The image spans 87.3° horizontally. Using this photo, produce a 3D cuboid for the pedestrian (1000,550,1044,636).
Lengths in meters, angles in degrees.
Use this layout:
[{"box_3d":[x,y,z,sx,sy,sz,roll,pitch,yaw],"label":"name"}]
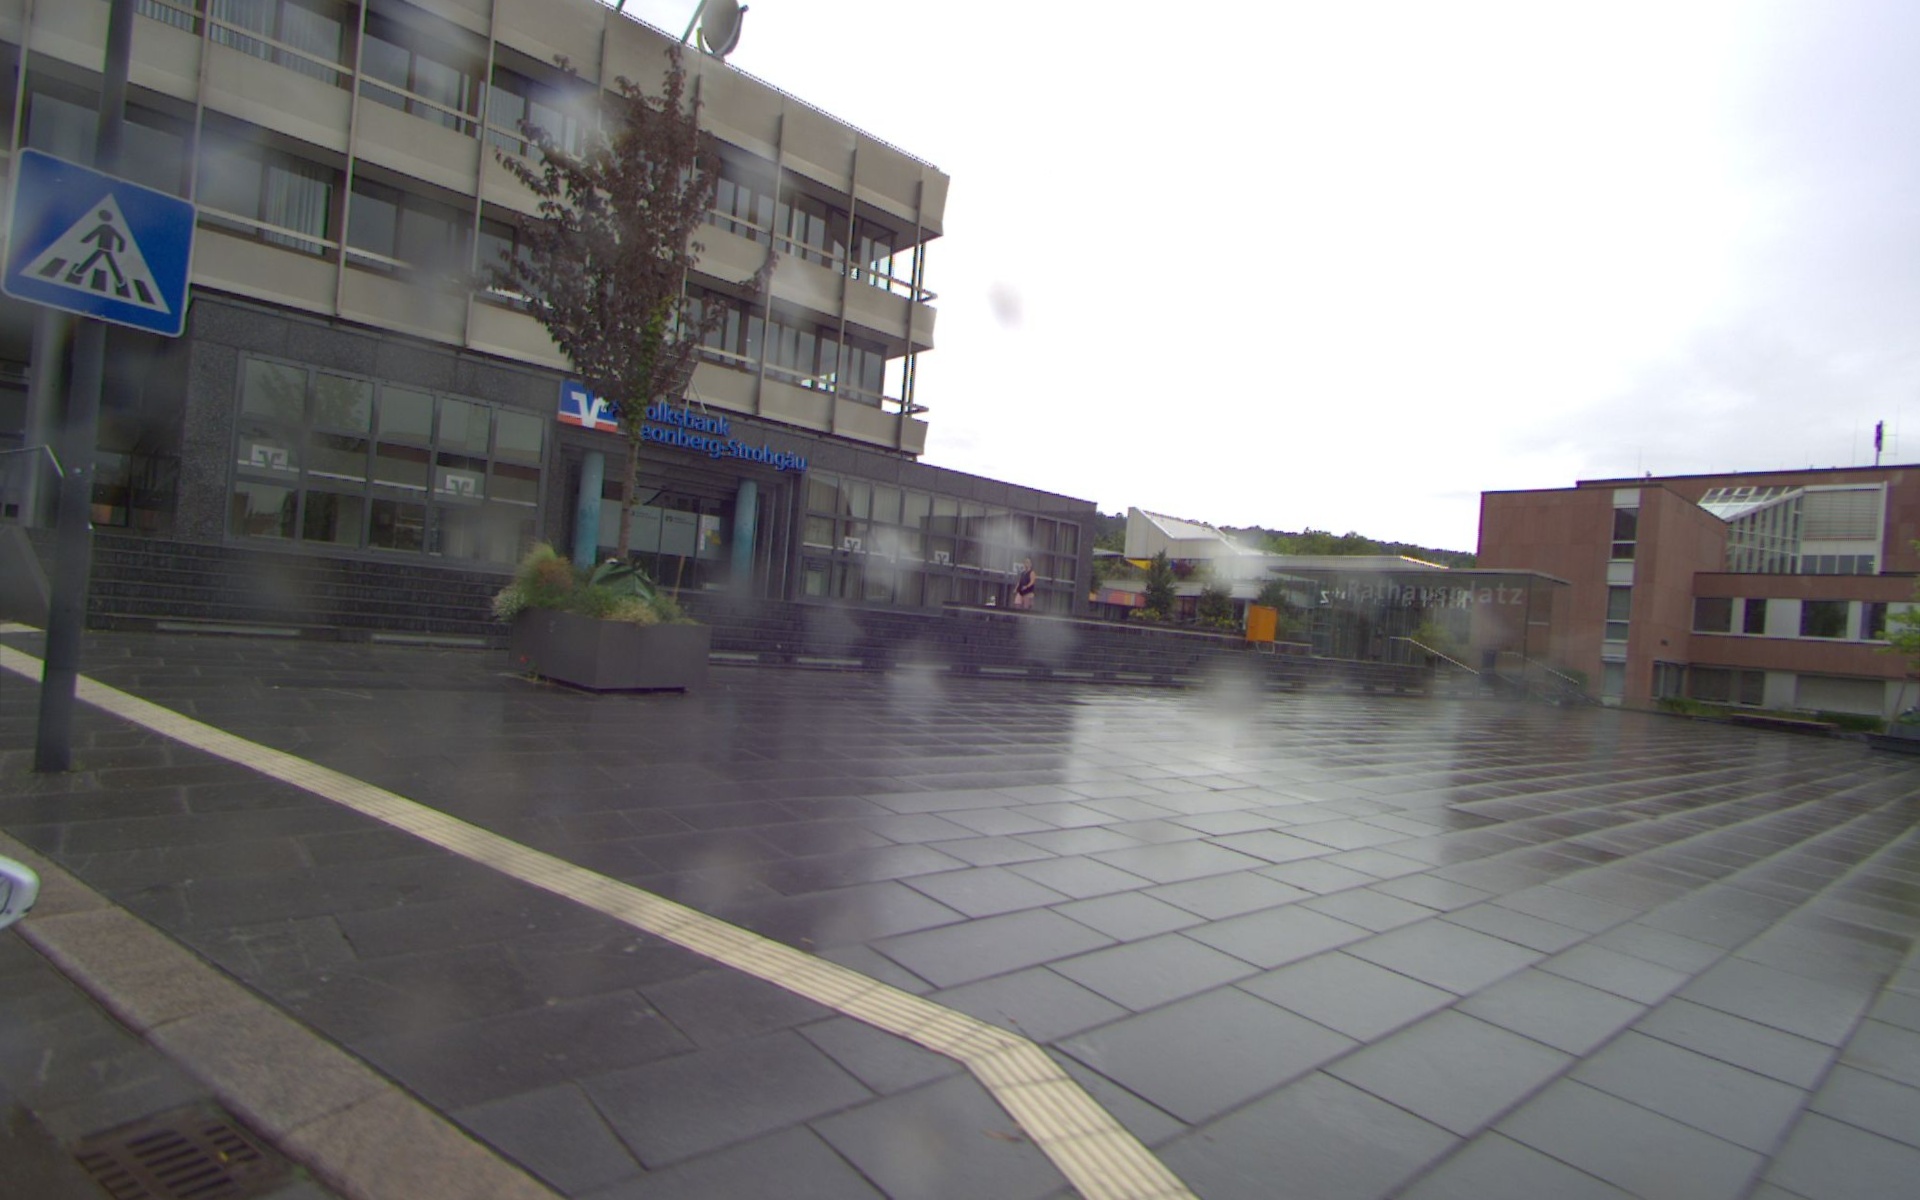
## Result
[{"box_3d":[1.622,-0.186,26.526,0.753,2.175,0.652,4,2,-37],"label":"pedestrian"}]
